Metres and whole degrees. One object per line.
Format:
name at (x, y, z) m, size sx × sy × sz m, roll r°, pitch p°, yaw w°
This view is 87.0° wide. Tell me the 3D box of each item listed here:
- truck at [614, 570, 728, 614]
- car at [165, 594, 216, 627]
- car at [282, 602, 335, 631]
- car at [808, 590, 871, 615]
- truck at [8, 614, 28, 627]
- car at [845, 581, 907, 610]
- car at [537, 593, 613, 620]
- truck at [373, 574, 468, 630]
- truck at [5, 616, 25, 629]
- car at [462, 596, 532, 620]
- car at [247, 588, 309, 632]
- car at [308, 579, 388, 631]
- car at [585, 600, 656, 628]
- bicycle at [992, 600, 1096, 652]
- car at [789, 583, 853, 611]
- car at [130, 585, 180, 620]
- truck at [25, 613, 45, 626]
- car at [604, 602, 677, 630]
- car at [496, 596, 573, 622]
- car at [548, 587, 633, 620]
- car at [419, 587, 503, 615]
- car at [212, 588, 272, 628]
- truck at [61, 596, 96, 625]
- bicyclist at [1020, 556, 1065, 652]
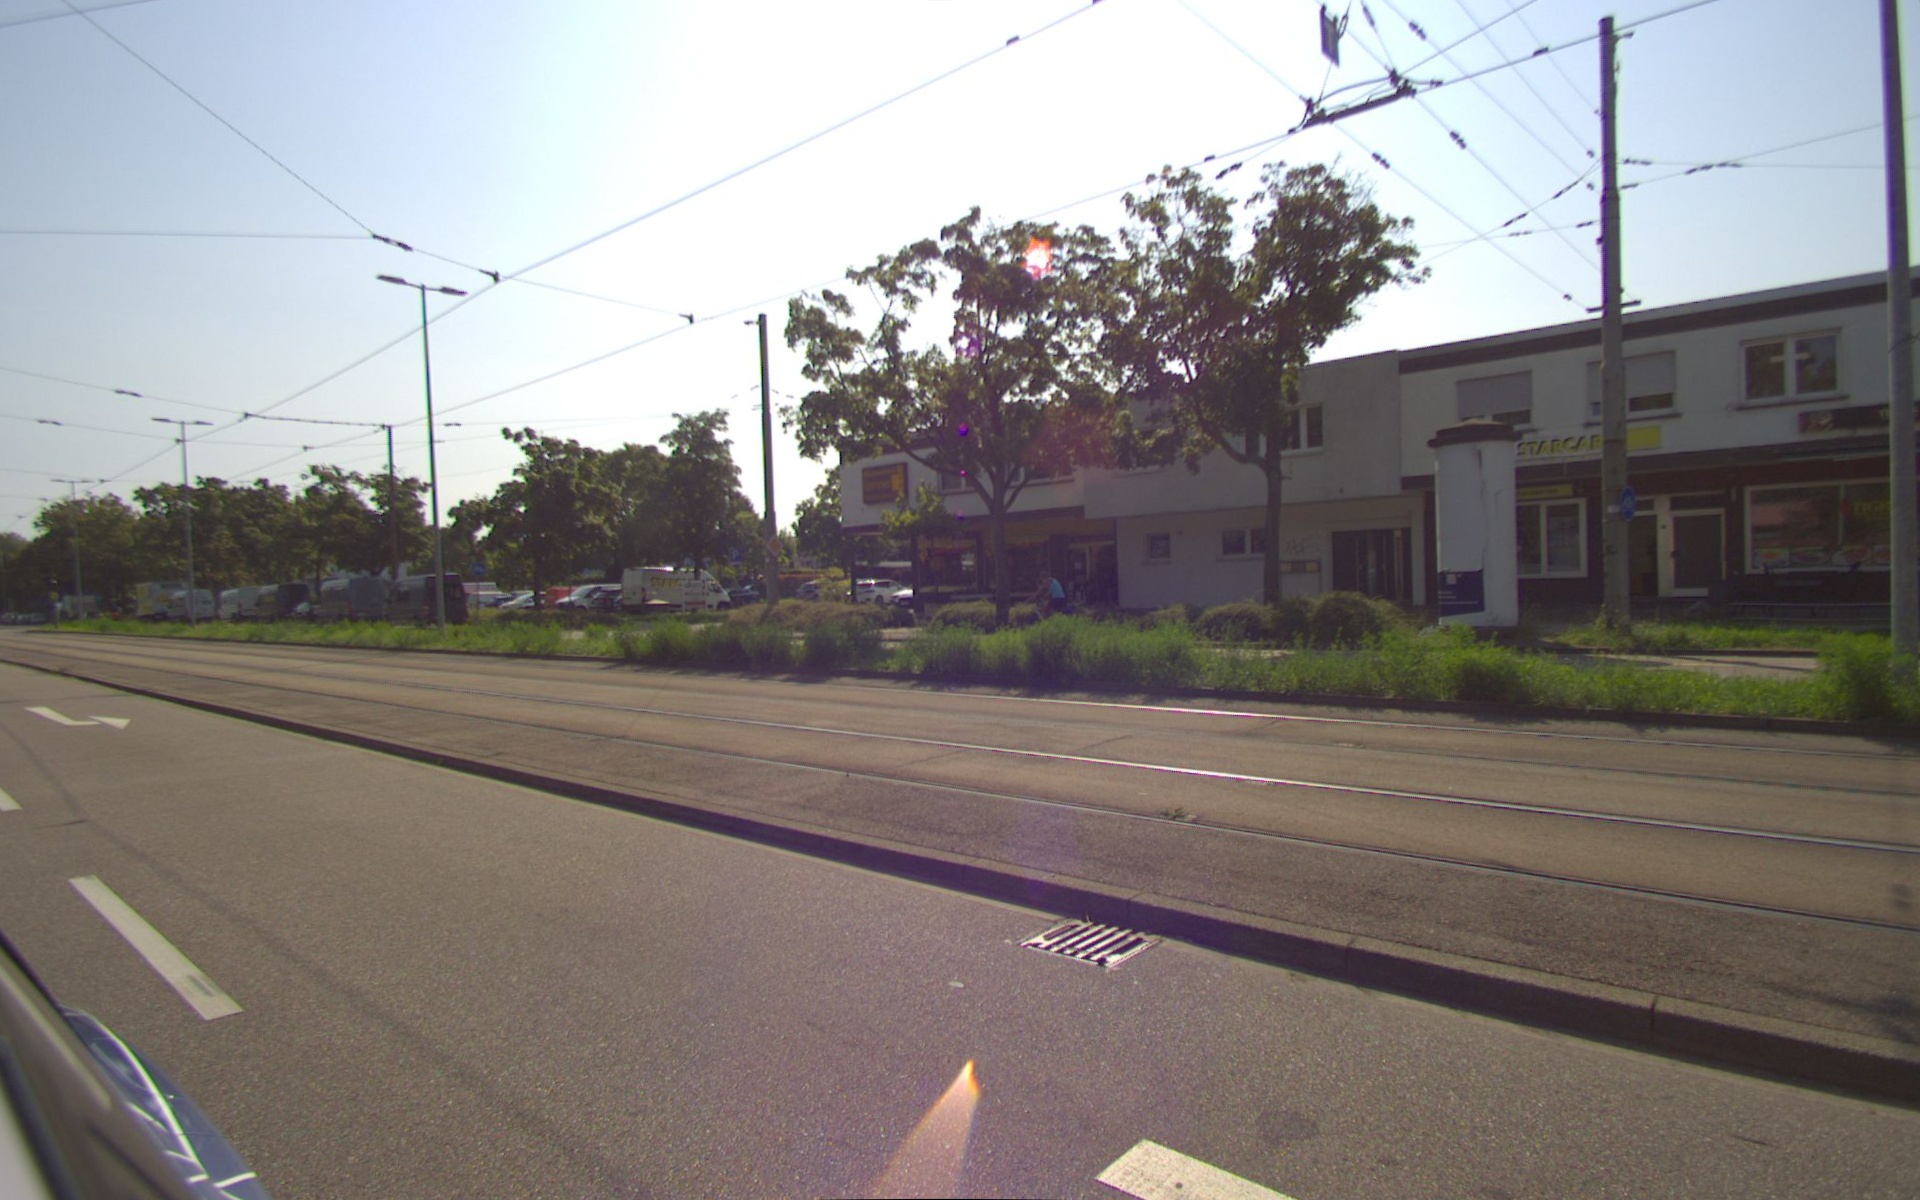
truck at (-15.054, -0.418, 53.035) m, size 2.258 × 2.189 × 5.434 m, roll -1°, pitch 0°, yaw 40°
car at (-59.415, 0.834, 78.071) m, size 4.828 × 2.477 × 2.121 m, roll -1°, pitch 0°, yaw 40°
car at (-38.113, 0.959, 59.181) m, size 3.834 × 1.563 × 1.725 m, roll -1°, pitch 2°, yaw 44°
car at (-7.385, 0.139, 62.221) m, size 3.661 × 1.353 × 1.493 m, roll -3°, pitch 1°, yaw -42°
truck at (-129.855, 2.843, 139.545) m, size 3.654 × 1.687 × 1.669 m, roll -1°, pitch 0°, yaw 42°
car at (-4.987, -0.295, 60.448) m, size 1.874 × 1.513 × 3.415 m, roll 1°, pitch 5°, yaw 38°
car at (-22.796, 0.361, 60.028) m, size 1.632 × 1.530 × 3.884 m, roll -1°, pitch 0°, yaw 40°
truck at (-25.879, 0.118, 48.451) m, size 5.736 × 2.567 × 2.059 m, roll -1°, pitch 0°, yaw 41°
truck at (-132.771, 3.146, 142.167) m, size 3.654 × 1.687 × 1.669 m, roll -1°, pitch 0°, yaw 42°
car at (-30.523, 0.512, 66.763) m, size 1.632 × 1.461 × 3.884 m, roll -1°, pitch 0°, yaw 40°
car at (-42.605, 0.646, 63.171) m, size 5.909 × 2.605 × 1.803 m, roll -1°, pitch 2°, yaw 43°
car at (-33.369, 0.265, 55.074) m, size 6.467 × 2.605 × 1.967 m, roll -1°, pitch 2°, yaw 43°
car at (-18.671, 0.756, 55.758) m, size 1.632 × 1.437 × 3.370 m, roll -1°, pitch 0°, yaw 40°
bicycle at (1.843, 0.565, 22.407) m, size 2.260 × 1.099 × 0.709 m, roll -1°, pitch 0°, yaw 36°
car at (-8.838, -0.189, 64.626) m, size 3.758 × 1.782 × 1.760 m, roll -1°, pitch 0°, yaw -44°
car at (-66.989, 0.243, 84.172) m, size 7.229 × 2.826 × 2.102 m, roll -1°, pitch 0°, yaw 42°
truck at (-121.674, 2.577, 133.117) m, size 3.654 × 1.687 × 1.669 m, roll -1°, pitch 0°, yaw 42°
car at (-17.166, 0.825, 54.463) m, size 1.632 × 1.437 × 3.370 m, roll -1°, pitch 0°, yaw 40°
car at (-26.525, 0.532, 63.157) m, size 1.623 × 1.474 × 4.114 m, roll -1°, pitch 0°, yaw 40°
car at (-21.055, 0.176, 57.809) m, size 1.632 × 1.798 × 4.354 m, roll -1°, pitch 0°, yaw 40°
car at (-36.049, 0.076, 73.226) m, size 2.051 × 1.940 × 5.133 m, roll -1°, pitch 0°, yaw 40°
car at (-48.728, 0.556, 68.619) m, size 5.629 × 2.606 × 2.110 m, roll -1°, pitch 0°, yaw 42°
truck at (-98.865, 1.176, 113.427) m, size 8.789 × 3.145 × 2.248 m, roll -1°, pitch 0°, yaw 44°
bicyclist at (1.830, 0.080, 22.418) m, size 0.773 × 2.080 × 0.632 m, roll -1°, pitch 0°, yaw 36°
